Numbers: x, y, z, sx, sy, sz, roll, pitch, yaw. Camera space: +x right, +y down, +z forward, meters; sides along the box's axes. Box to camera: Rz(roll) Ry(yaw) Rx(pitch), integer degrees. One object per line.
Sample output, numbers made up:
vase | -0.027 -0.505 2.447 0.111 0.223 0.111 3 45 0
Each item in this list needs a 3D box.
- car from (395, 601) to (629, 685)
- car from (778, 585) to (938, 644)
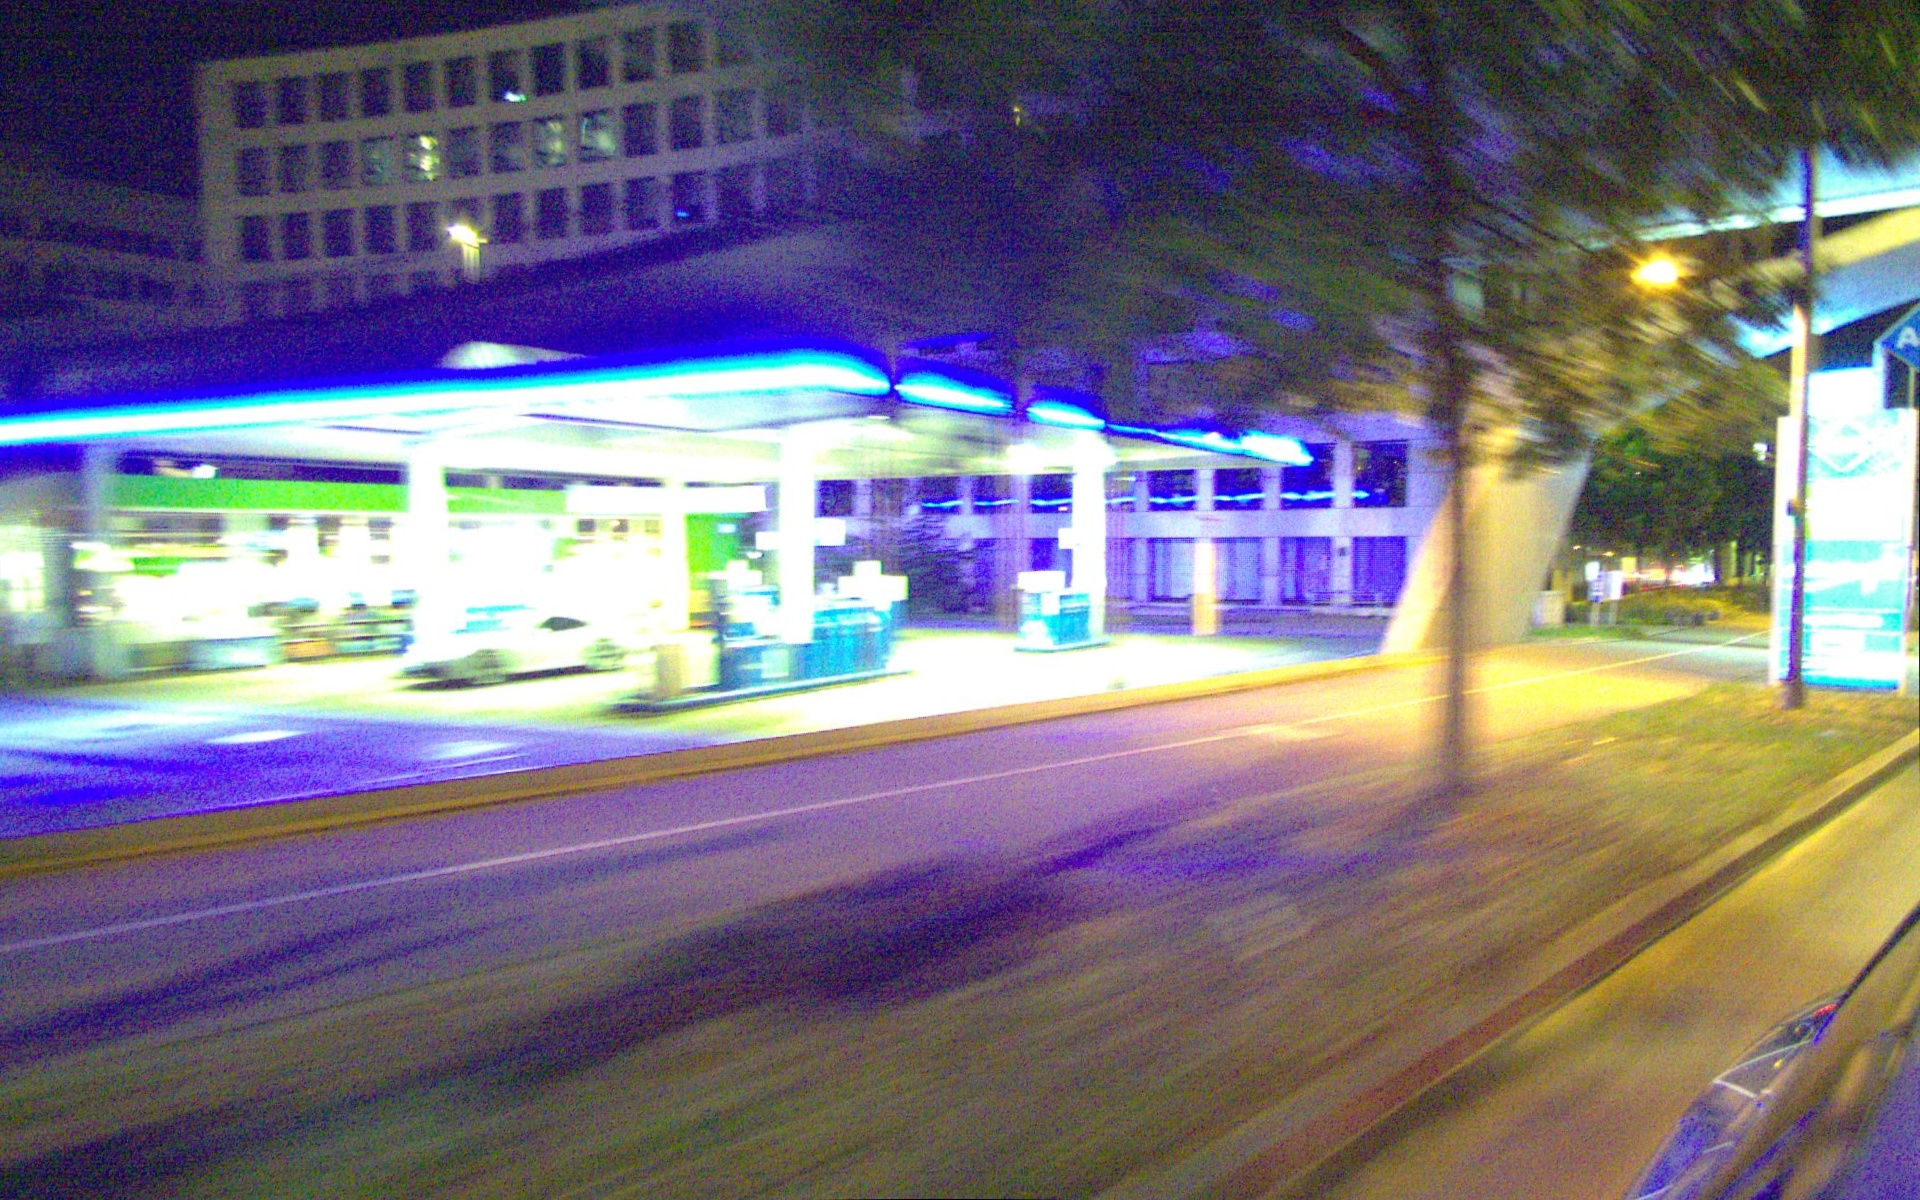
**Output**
car | -8.922 0.781 20.410 1.650 1.375 4.013 0 2 39
car | -2.754 0.335 28.109 1.925 1.380 4.272 1 3 41
